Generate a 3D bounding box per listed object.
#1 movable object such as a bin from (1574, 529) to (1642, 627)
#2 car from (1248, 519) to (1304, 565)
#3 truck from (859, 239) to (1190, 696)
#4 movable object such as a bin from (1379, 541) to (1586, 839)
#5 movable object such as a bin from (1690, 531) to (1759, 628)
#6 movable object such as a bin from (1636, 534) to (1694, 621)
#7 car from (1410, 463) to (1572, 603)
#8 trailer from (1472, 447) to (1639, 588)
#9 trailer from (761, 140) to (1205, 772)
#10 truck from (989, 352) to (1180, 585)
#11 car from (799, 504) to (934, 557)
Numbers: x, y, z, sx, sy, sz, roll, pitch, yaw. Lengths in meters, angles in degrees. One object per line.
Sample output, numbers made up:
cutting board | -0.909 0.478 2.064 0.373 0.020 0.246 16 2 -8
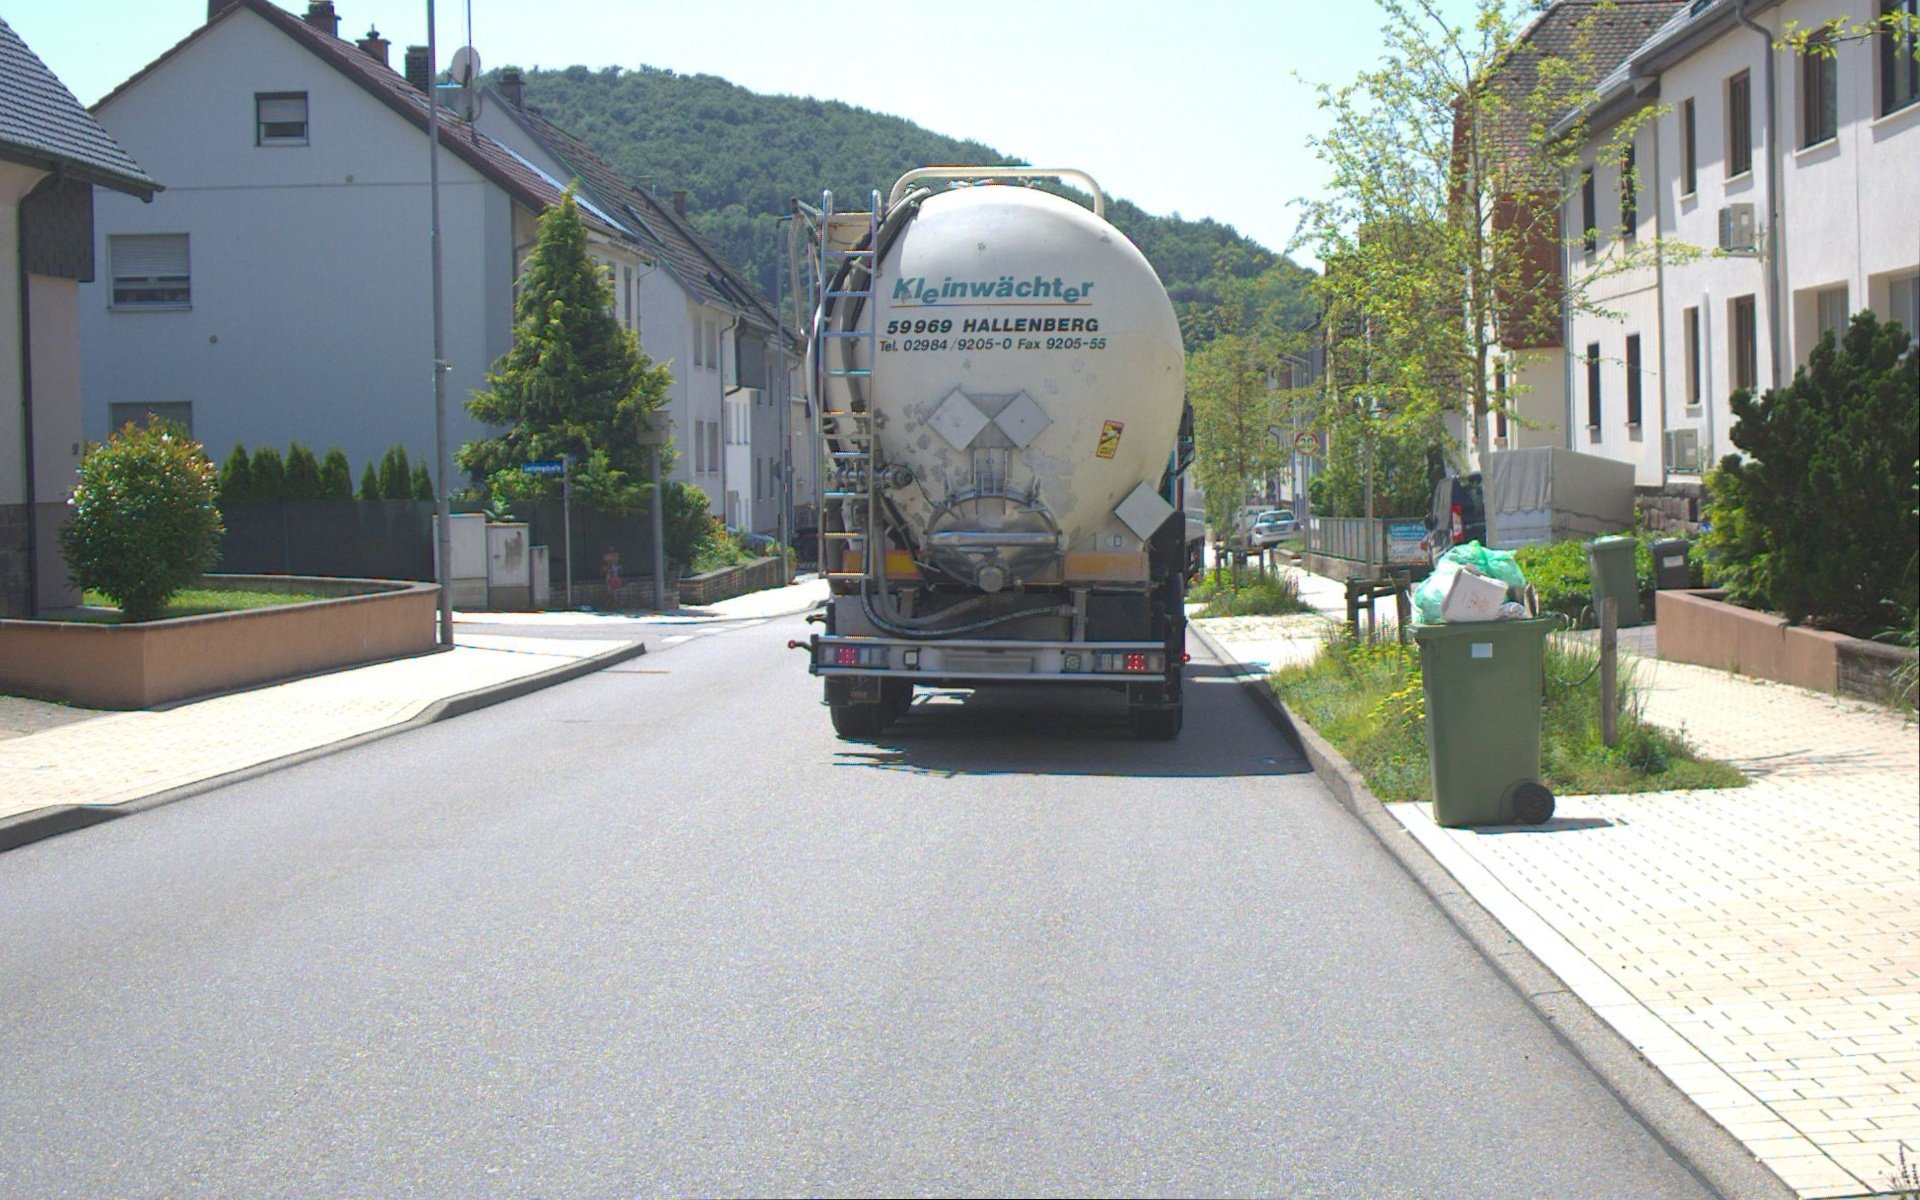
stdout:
movable object such as a bin | 7.722 -0.270 40.985 0.684 1.111 0.812 -4 0 8
car | 11.328 -2.099 123.467 1.791 1.536 4.519 -3 1 4
truck | 0.718 -1.238 32.845 2.809 3.923 6.099 1 2 3
movable object such as a bin | 2.593 0.429 17.142 0.792 1.390 0.925 -4 1 0
movable object such as a bin | 9.091 -0.249 40.914 0.685 1.102 0.862 -4 1 9
movable object such as a bin | 8.419 -0.276 41.076 0.558 0.982 0.802 -5 0 9
car | 8.463 -1.081 55.162 1.852 1.964 4.773 -6 1 2
trailer | 8.711 -1.196 50.227 1.323 2.007 2.267 2 2 45
trailer | 0.401 -1.066 26.908 2.796 3.987 10.323 0 2 3
truck | 2.711 -2.938 78.440 3.910 4.879 9.797 -2 1 0
car | -3.077 -2.300 113.792 4.395 1.744 1.878 0 1 2
